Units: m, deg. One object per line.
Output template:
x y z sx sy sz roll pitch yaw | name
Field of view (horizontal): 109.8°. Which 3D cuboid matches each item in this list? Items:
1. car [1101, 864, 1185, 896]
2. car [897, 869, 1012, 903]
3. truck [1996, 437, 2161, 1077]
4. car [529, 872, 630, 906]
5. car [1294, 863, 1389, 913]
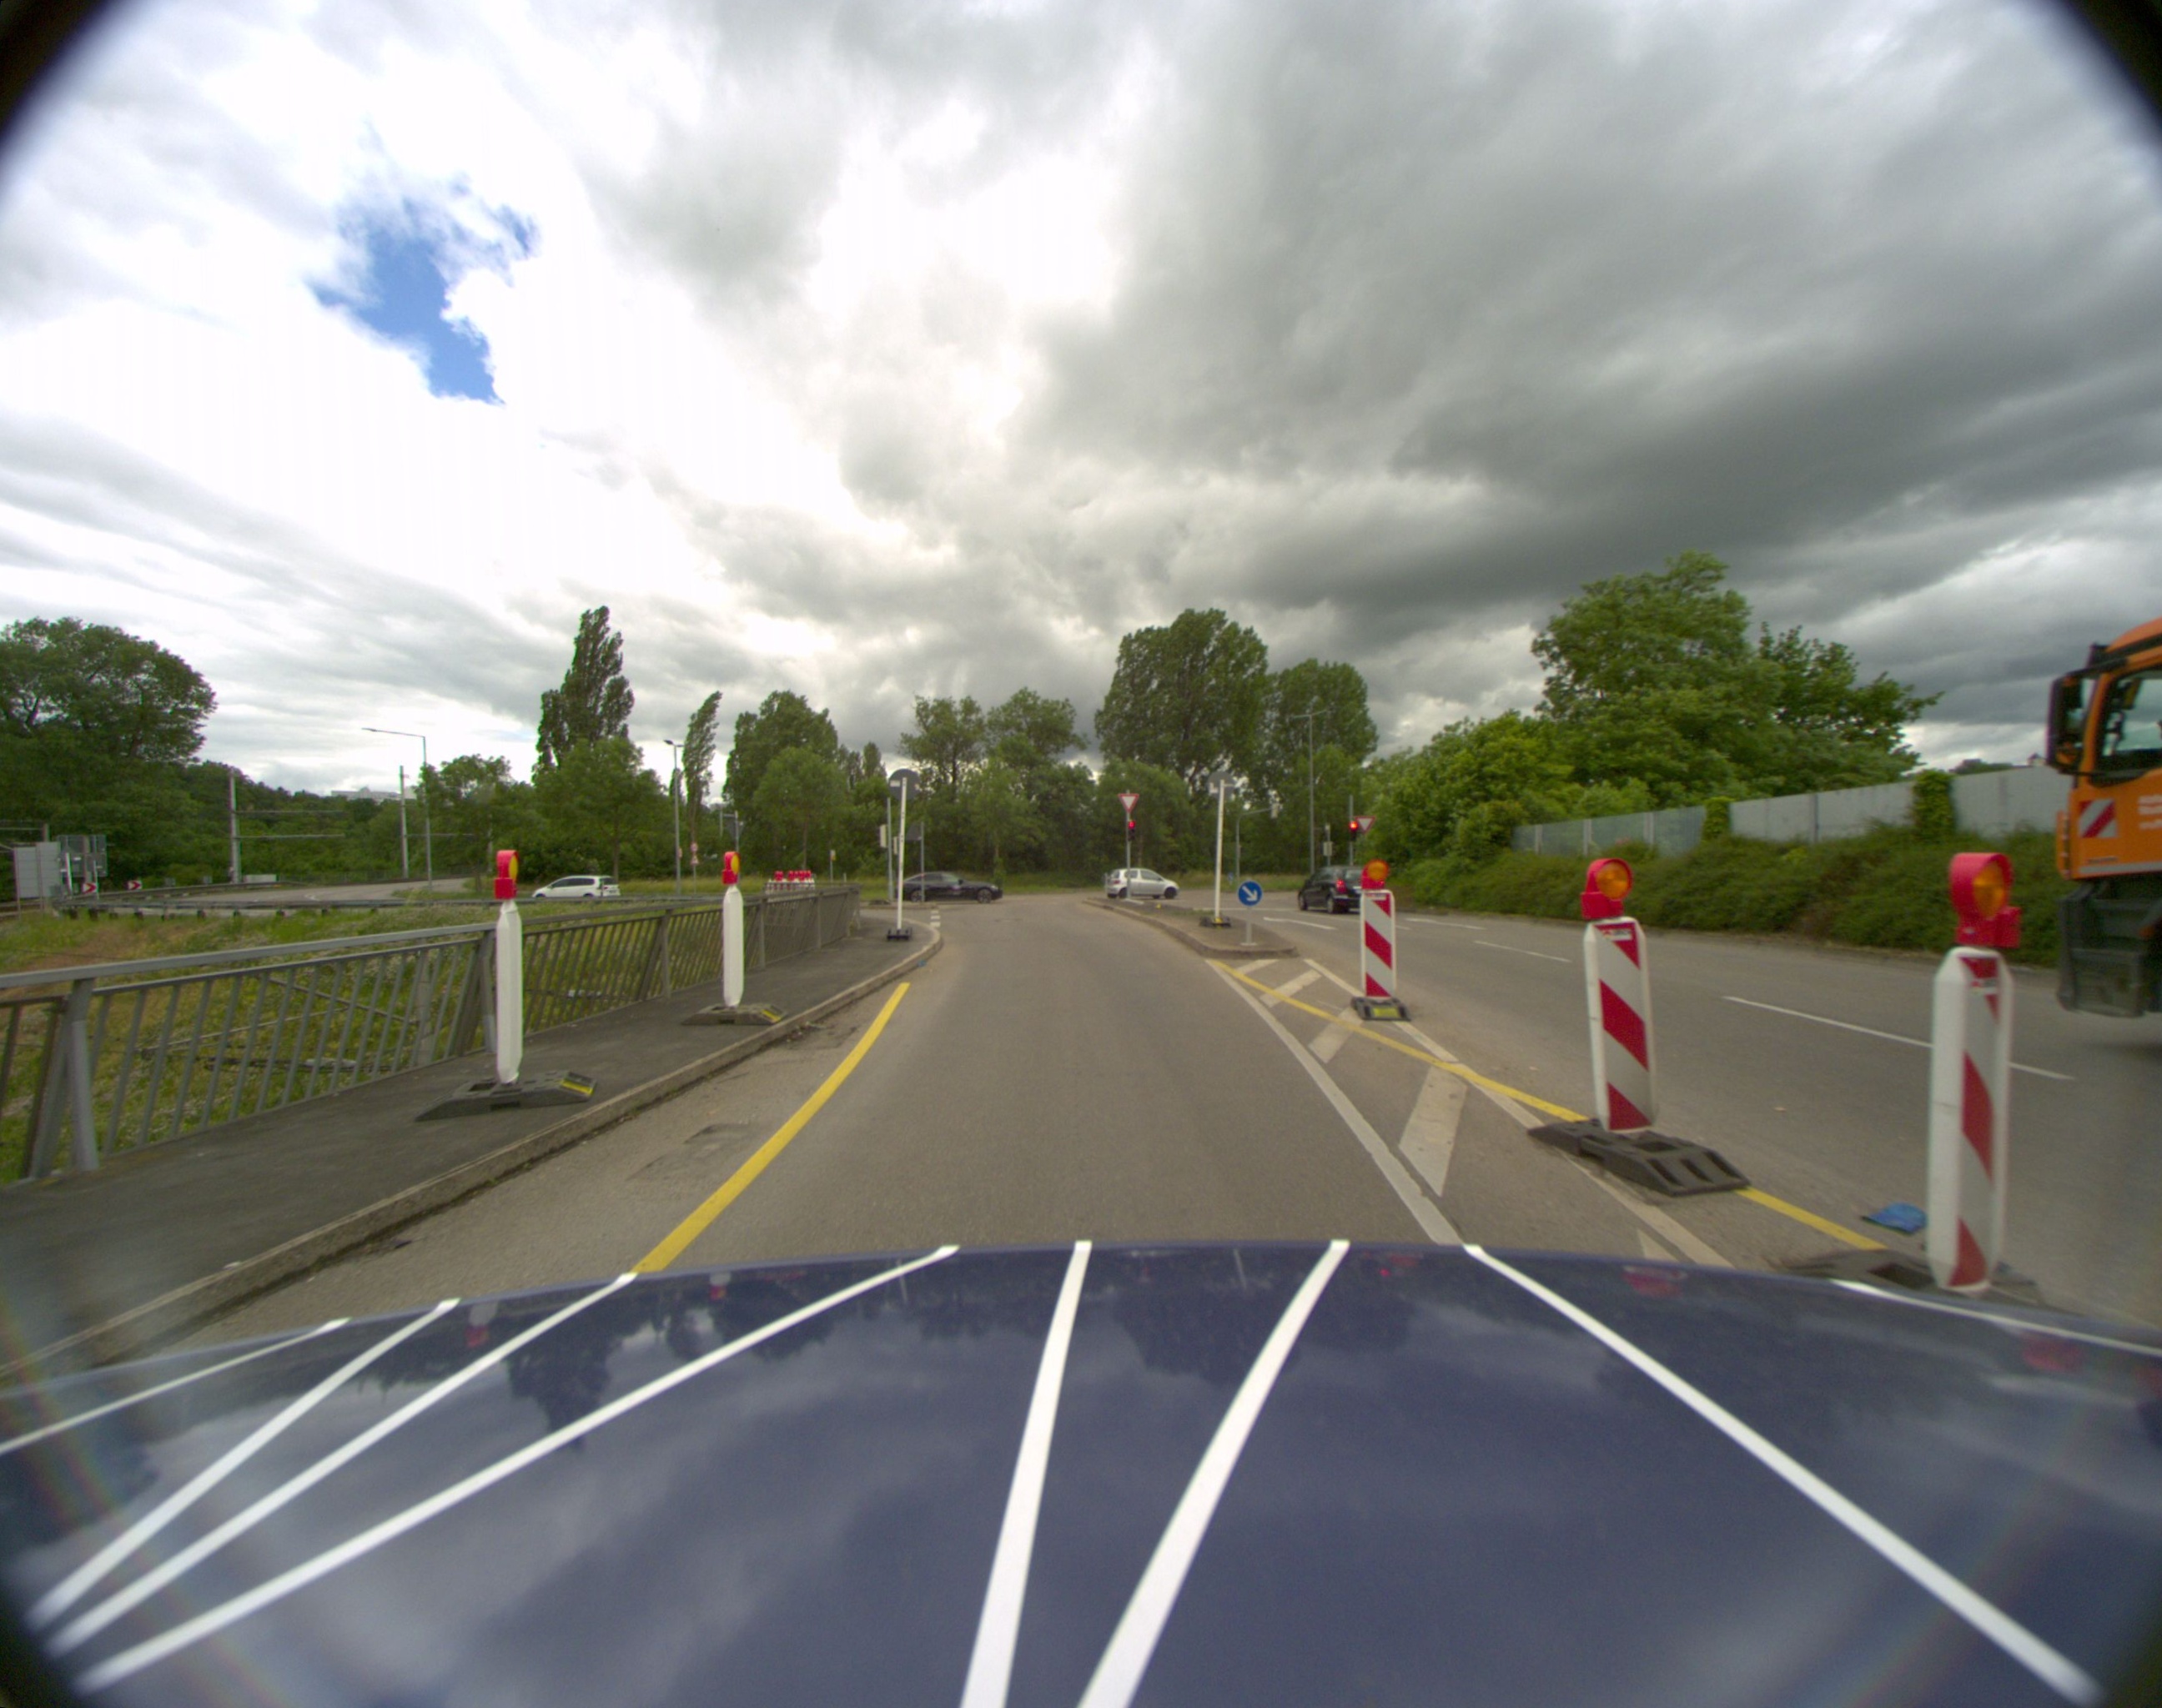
2.992 1.241 36.762 3.632 1.461 1.671 0 -1 -21 | car
-5.703 1.425 34.204 4.965 1.467 1.877 0 -2 -11 | car
7.933 -0.657 0.938 3.115 4.196 9.801 -1 0 10 | truck
-28.132 2.007 42.724 4.317 1.748 2.085 -2 -3 4 | car
8.673 1.099 25.597 1.643 1.542 3.788 1 -1 -5 | car
